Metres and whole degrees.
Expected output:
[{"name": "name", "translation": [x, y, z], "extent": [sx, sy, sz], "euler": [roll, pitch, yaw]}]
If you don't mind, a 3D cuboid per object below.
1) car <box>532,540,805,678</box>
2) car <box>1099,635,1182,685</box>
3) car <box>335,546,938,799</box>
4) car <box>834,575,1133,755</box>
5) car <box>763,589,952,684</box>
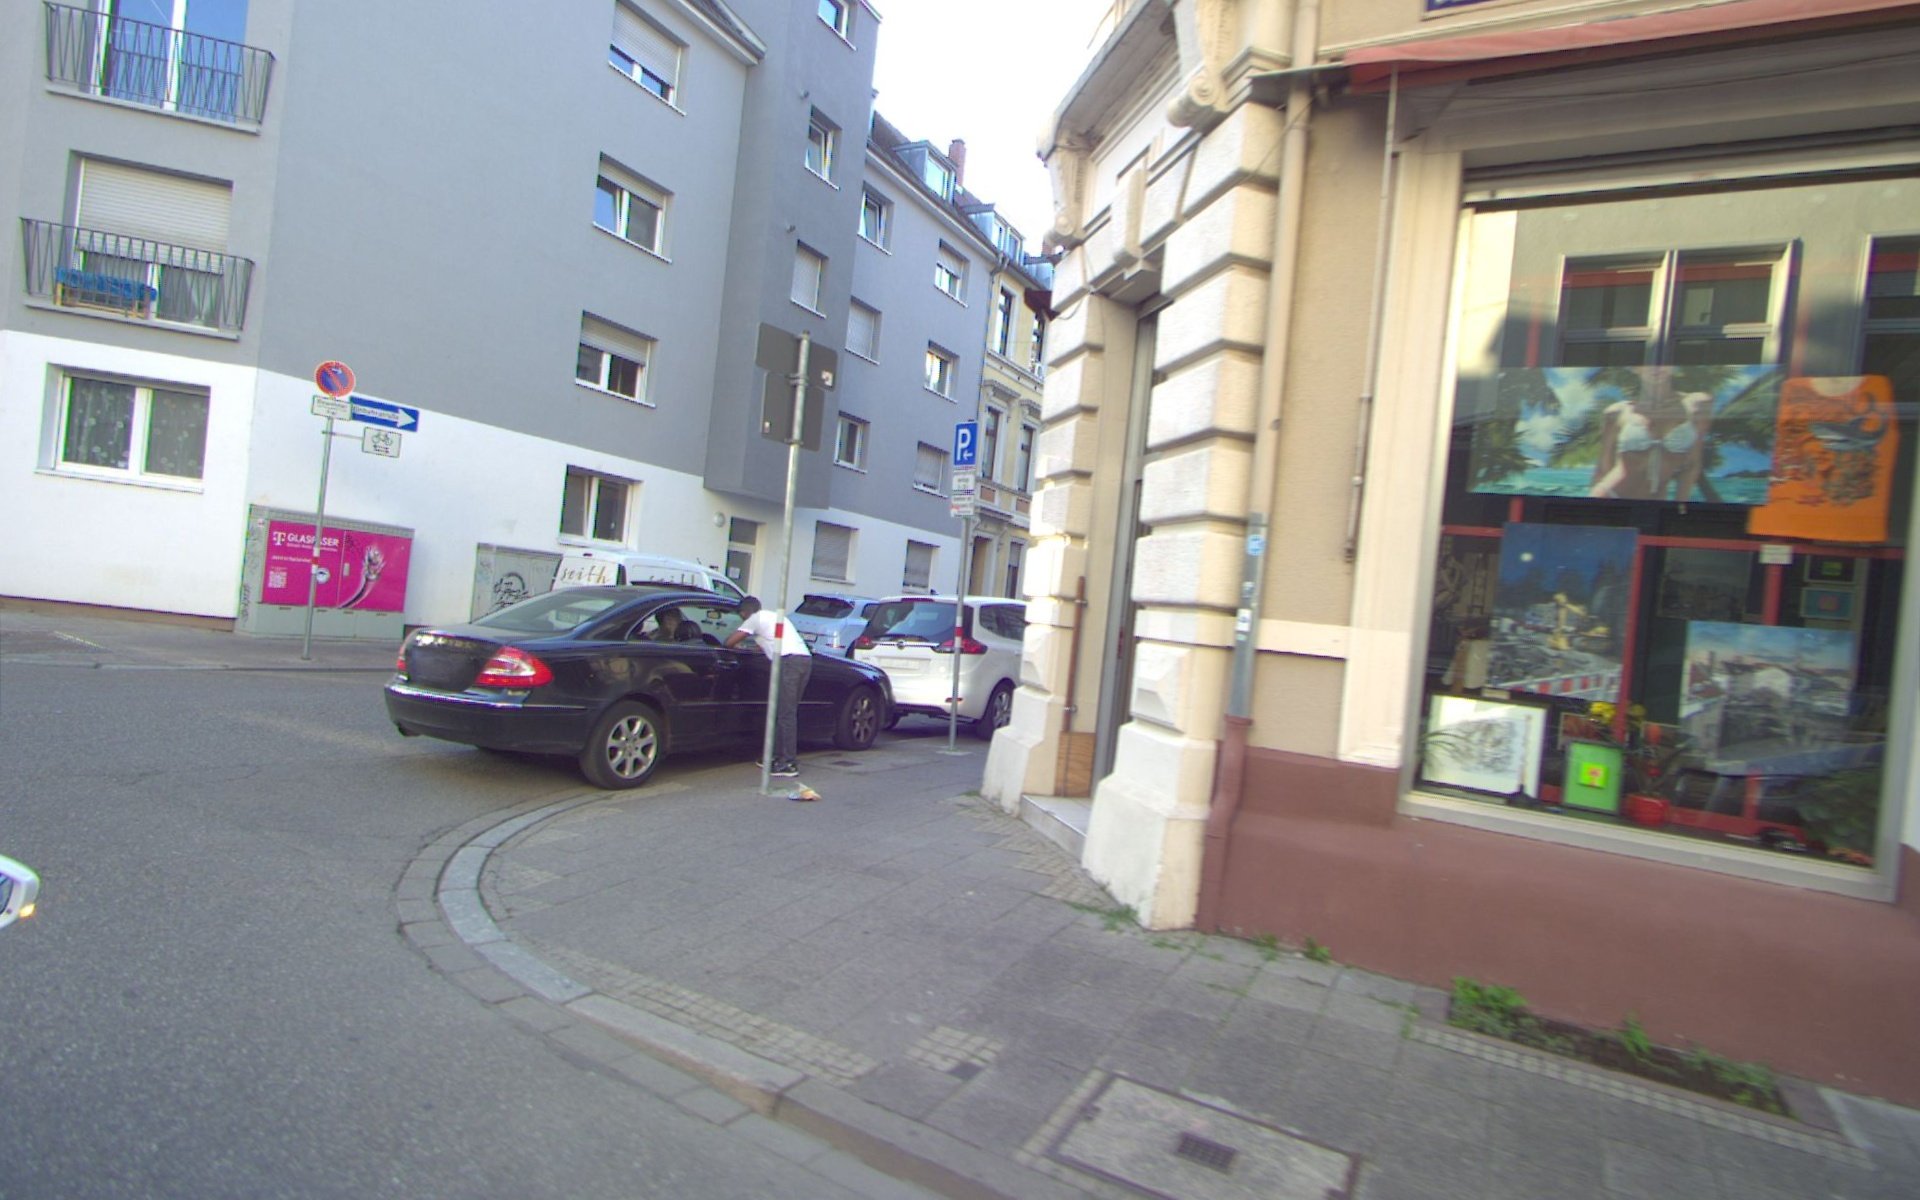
[{"name": "car", "translation": [-4.527, 0.247, 16.271], "extent": [1.608, 1.836, 4.179], "euler": [6, -1, 29]}, {"name": "car", "translation": [6.479, 2.158, 35.742], "extent": [1.608, 1.490, 3.748], "euler": [6, -1, 30]}, {"name": "car", "translation": [-2.317, 0.583, 8.584], "extent": [1.859, 1.425, 4.718], "euler": [6, -1, 32]}, {"name": "car", "translation": [0.520, 0.823, 12.903], "extent": [1.792, 1.744, 4.454], "euler": [6, -1, 30]}, {"name": "car", "translation": [-1.961, 0.768, 20.733], "extent": [1.738, 1.583, 4.361], "euler": [6, 0, 25]}]
